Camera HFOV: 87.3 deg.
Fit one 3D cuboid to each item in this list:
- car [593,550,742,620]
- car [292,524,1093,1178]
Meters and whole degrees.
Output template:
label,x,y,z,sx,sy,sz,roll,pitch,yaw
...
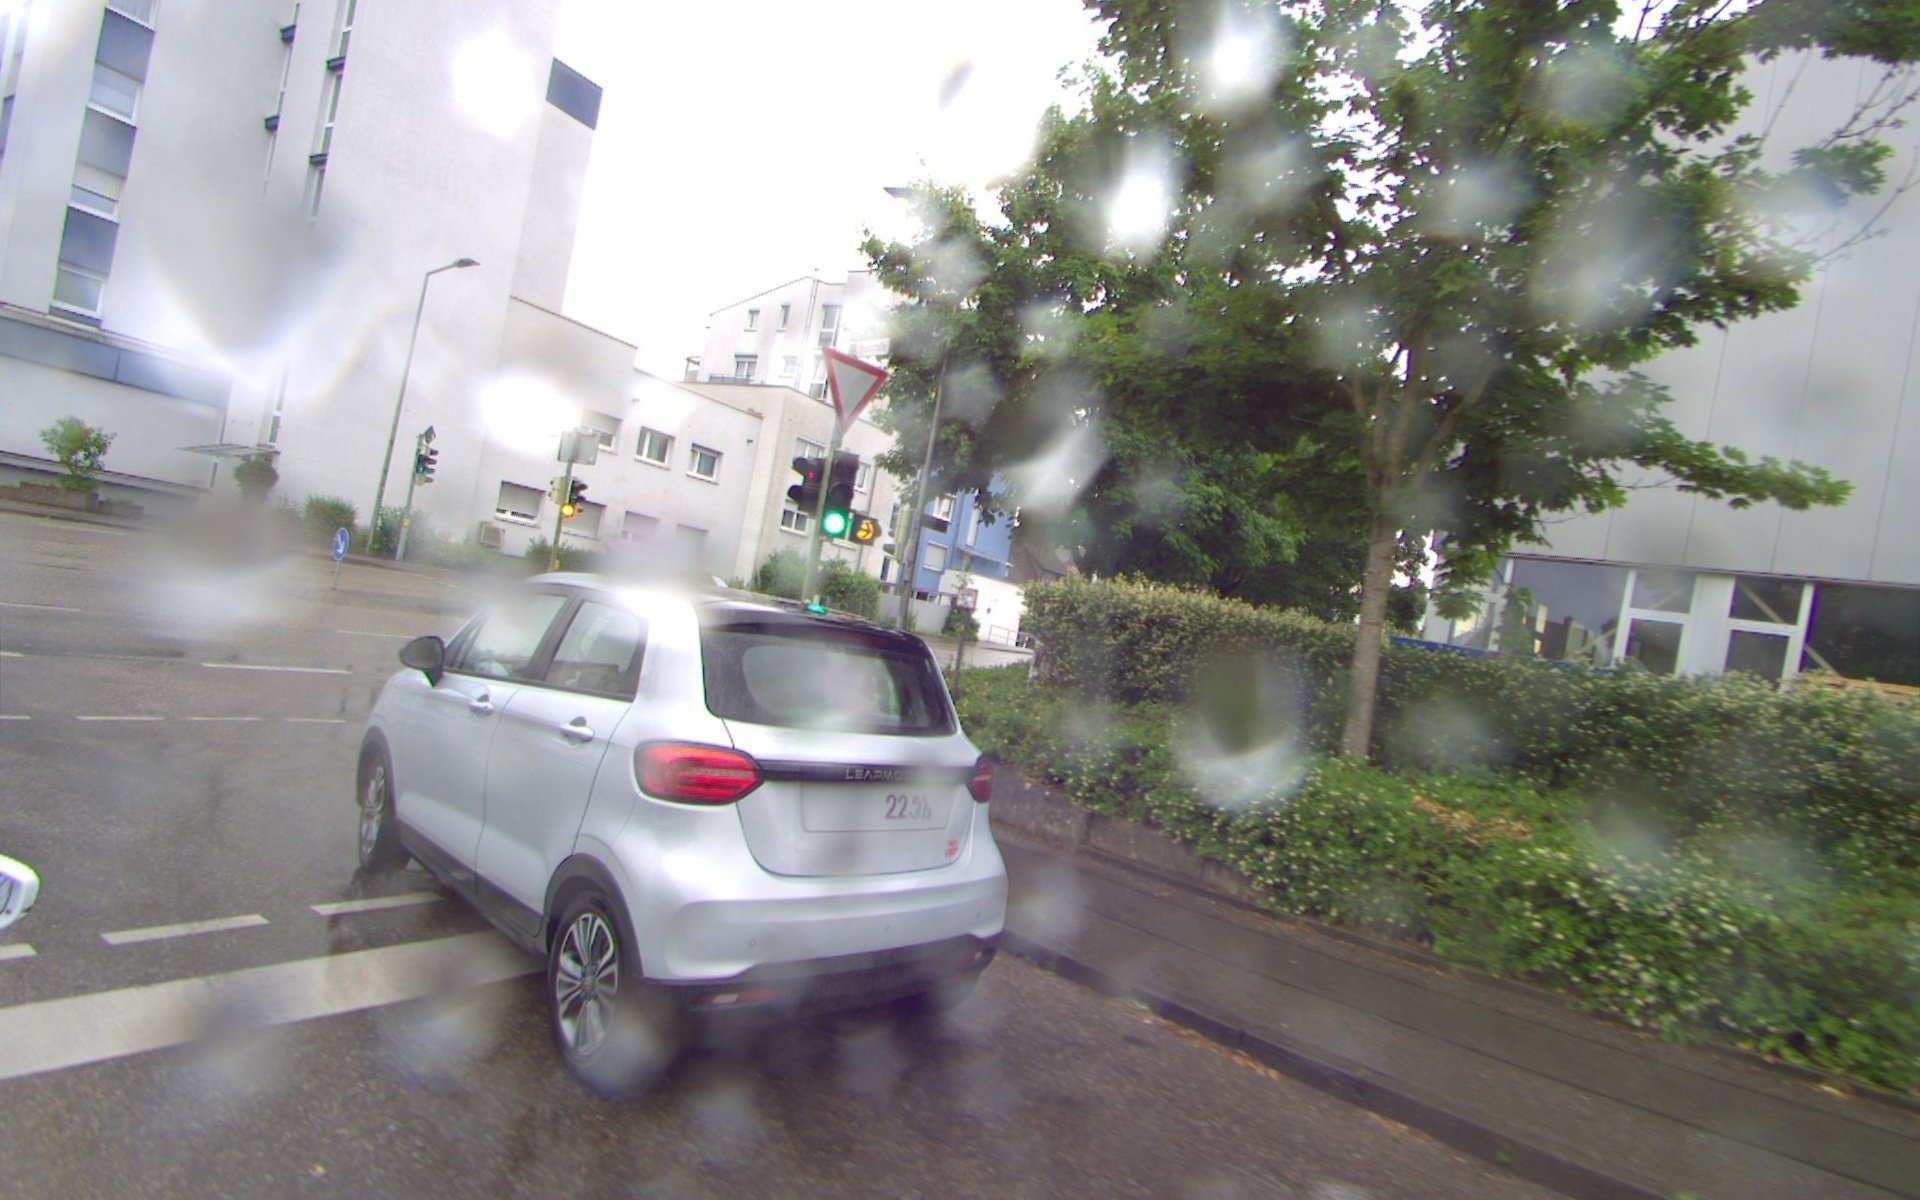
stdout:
label,x,y,z,sx,sy,sz,roll,pitch,yaw
car,-9.177,-0.433,31.795,1.717,1.504,4.134,11,1,40
car,-1.529,0.658,4.615,3.855,1.573,1.686,8,-1,45
